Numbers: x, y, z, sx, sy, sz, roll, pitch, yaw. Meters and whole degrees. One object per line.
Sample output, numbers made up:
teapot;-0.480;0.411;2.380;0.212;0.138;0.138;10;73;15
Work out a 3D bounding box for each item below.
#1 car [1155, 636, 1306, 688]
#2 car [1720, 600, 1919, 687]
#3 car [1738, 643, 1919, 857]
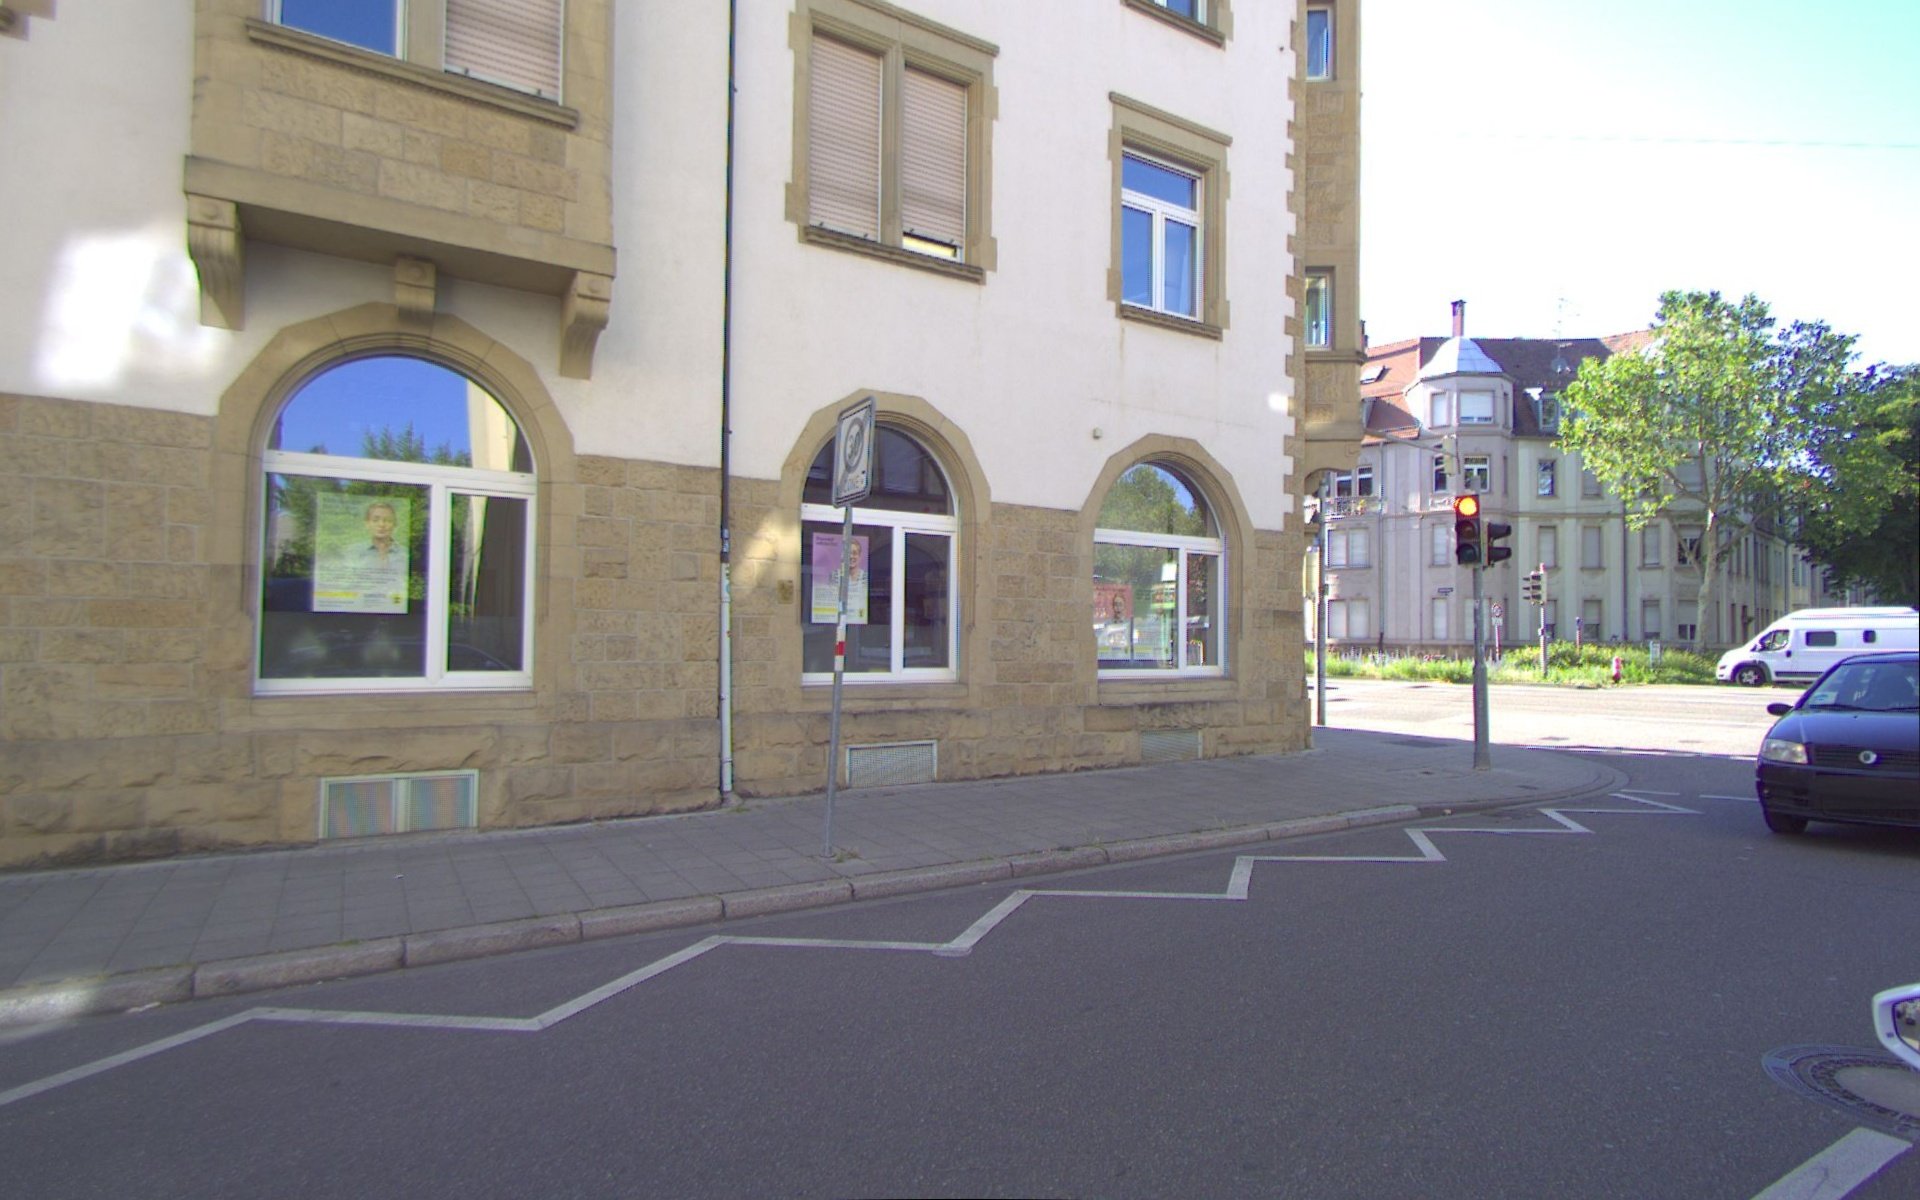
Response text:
car;8.149;1.832;30.480;4.155;1.476;1.669;-2;-2;42
car;28.888;1.402;33.083;6.040;2.672;1.886;-1;-2;42
car;7.986;1.105;8.277;3.610;1.476;1.640;2;-2;-37
